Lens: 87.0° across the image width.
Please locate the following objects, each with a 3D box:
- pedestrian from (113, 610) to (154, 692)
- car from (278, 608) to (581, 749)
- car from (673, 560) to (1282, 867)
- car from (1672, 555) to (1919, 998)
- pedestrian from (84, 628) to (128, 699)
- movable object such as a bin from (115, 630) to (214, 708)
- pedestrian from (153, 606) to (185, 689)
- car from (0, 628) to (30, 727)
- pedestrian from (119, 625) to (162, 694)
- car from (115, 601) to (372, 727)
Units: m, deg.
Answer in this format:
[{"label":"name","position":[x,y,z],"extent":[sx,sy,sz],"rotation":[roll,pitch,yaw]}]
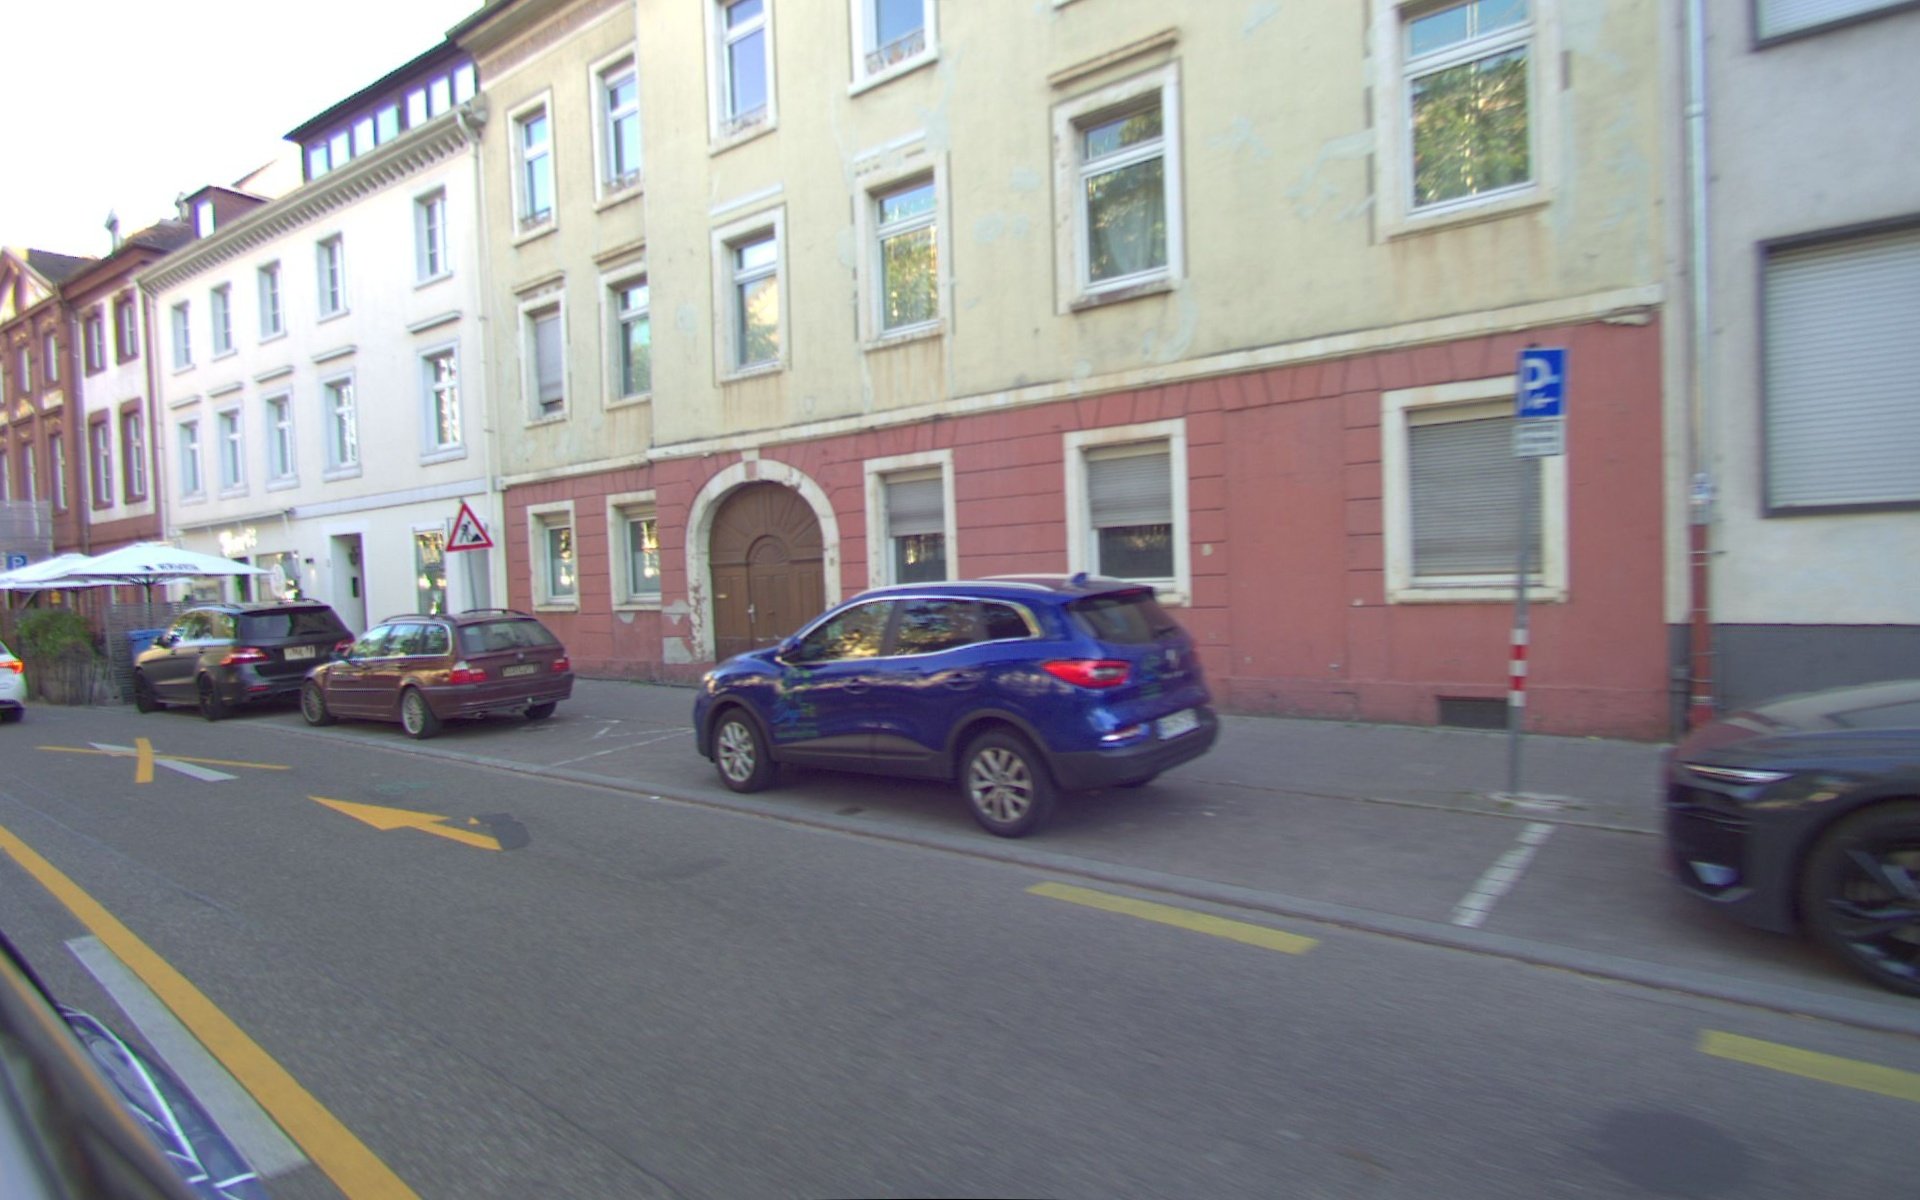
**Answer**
[{"label":"pedestrian","position":[-18.605,1.129,22.779],"extent":[0.439,1.788,0.589],"rotation":[-2,1,42]},{"label":"car","position":[-6.909,0.914,12.992],"extent":[4.419,1.491,1.639],"rotation":[-2,0,36]},{"label":"car","position":[-0.064,0.646,7.659],"extent":[4.343,1.680,1.915],"rotation":[-2,0,40]},{"label":"car","position":[5.224,0.559,3.175],"extent":[4.755,1.515,1.806],"rotation":[-2,2,40]},{"label":"pedestrian","position":[-17.569,1.296,20.830],"extent":[0.486,1.401,0.519],"rotation":[-2,1,31]},{"label":"movable object such as a bin","position":[-14.490,1.234,18.447],"extent":[0.929,1.305,1.204],"rotation":[-2,0,38]},{"label":"pedestrian","position":[-17.525,1.044,22.422],"extent":[0.432,1.788,0.598],"rotation":[-3,1,-43]},{"label":"car","position":[-16.182,1.205,15.665],"extent":[4.418,1.432,1.720],"rotation":[-2,0,35]},{"label":"pedestrian","position":[-17.349,1.252,21.427],"extent":[0.486,1.401,0.519],"rotation":[-2,1,31]},{"label":"car","position":[-11.512,0.937,16.148],"extent":[4.775,1.692,1.905],"rotation":[-2,0,36]}]
